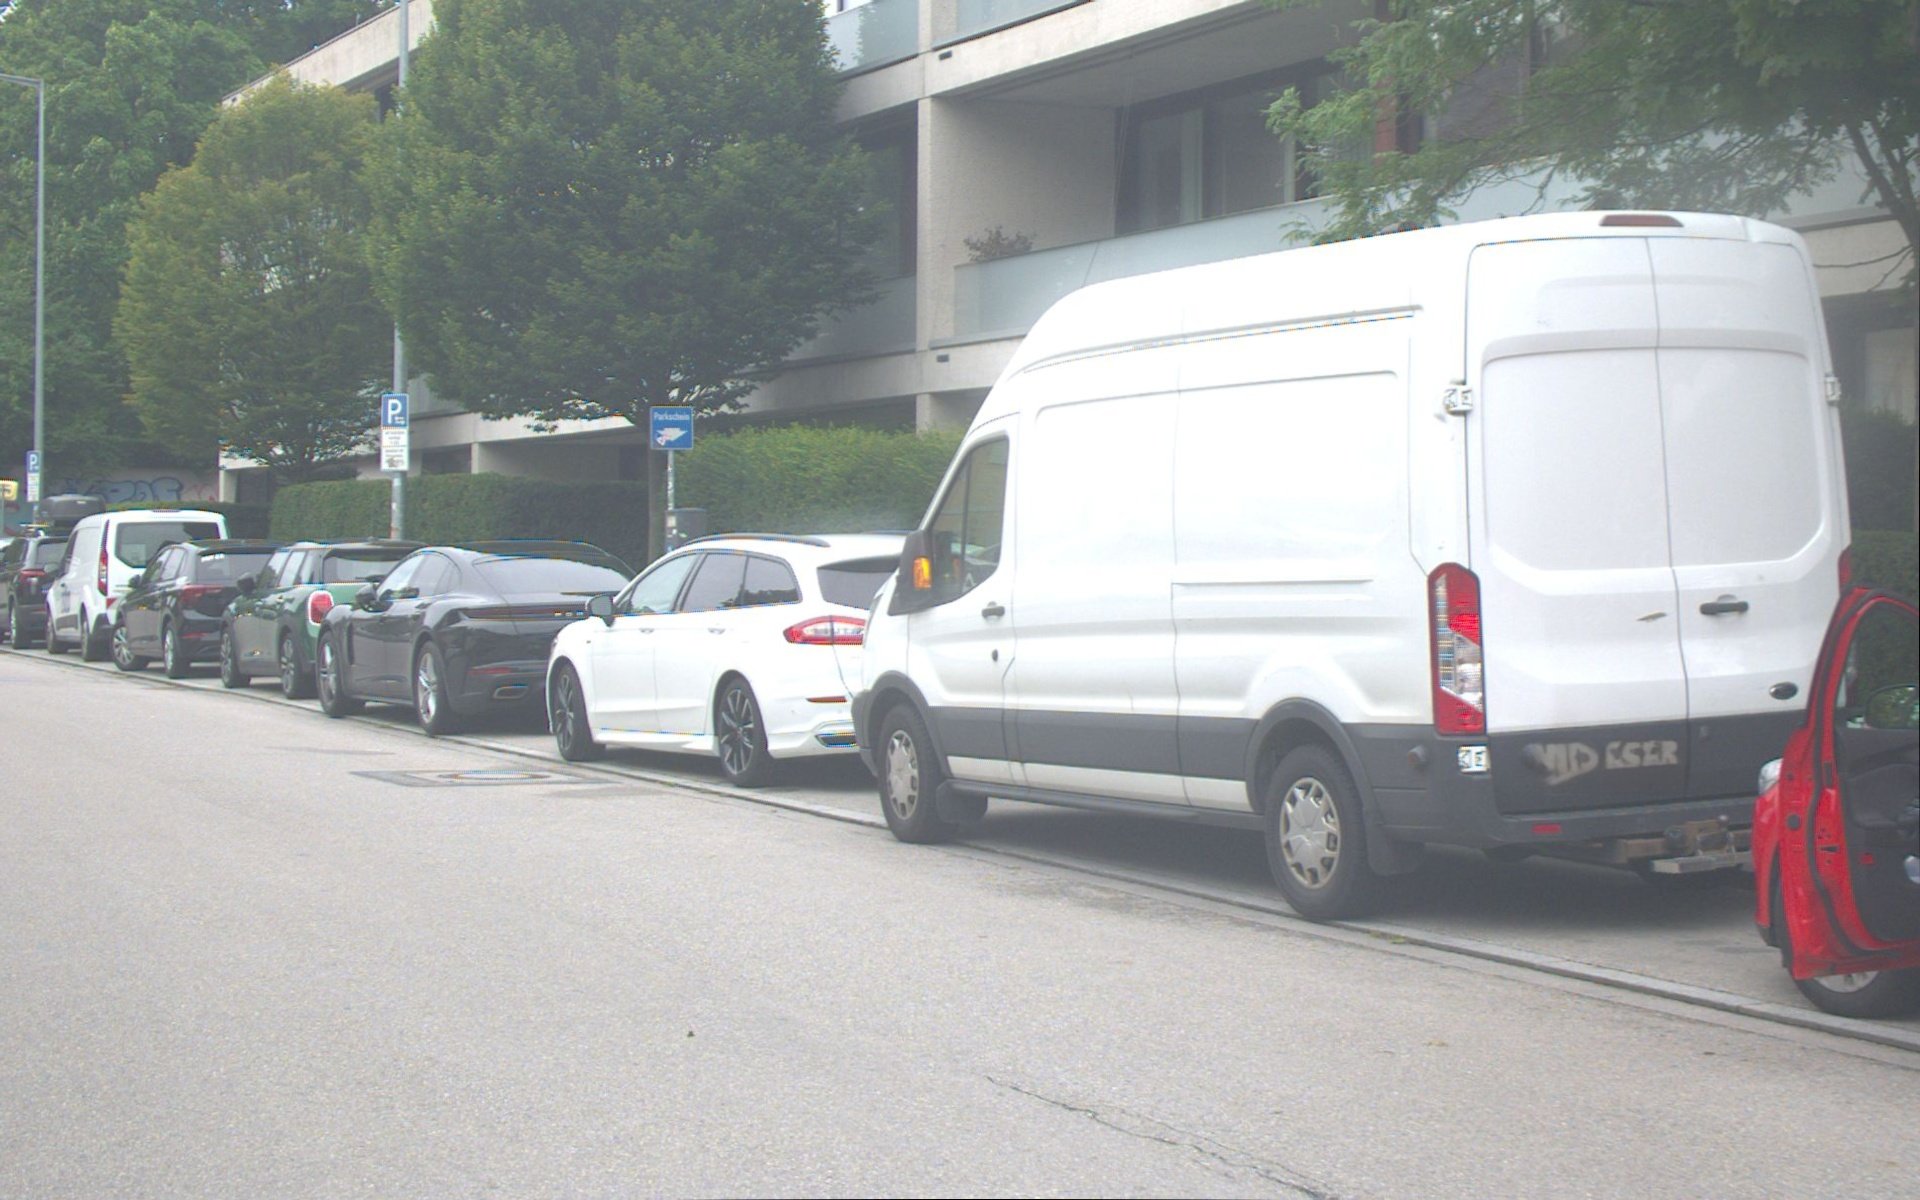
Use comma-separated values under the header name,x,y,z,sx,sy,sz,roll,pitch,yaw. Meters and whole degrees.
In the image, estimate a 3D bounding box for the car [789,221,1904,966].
name,x,y,z,sx,sy,sz,roll,pitch,yaw
car,1.383,-0.142,15.535,2.079,2.677,6.090,-2,2,-26

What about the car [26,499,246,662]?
name,x,y,z,sx,sy,sz,roll,pitch,yaw
car,-10.303,-0.276,42.728,1.822,1.854,4.899,2,1,-23

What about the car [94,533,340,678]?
name,x,y,z,sx,sy,sz,roll,pitch,yaw
car,-8.116,0.015,37.271,1.747,1.459,4.243,0,1,-24

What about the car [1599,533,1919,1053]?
name,x,y,z,sx,sy,sz,roll,pitch,yaw
car,4.070,0.601,9.930,1.870,1.501,4.839,-2,3,-26

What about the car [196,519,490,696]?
name,x,y,z,sx,sy,sz,roll,pitch,yaw
car,-5.883,0.013,32.417,1.726,1.524,4.205,-1,2,-24

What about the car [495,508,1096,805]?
name,x,y,z,sx,sy,sz,roll,pitch,yaw
car,-1.196,0.243,21.742,1.870,1.564,5.003,-2,3,-27

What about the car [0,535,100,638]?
name,x,y,z,sx,sy,sz,roll,pitch,yaw
car,-14.199,-0.234,51.692,1.747,1.475,3.889,0,1,-25

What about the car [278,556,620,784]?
name,x,y,z,sx,sy,sz,roll,pitch,yaw
car,-4.151,0.467,27.231,1.281,1.501,5.209,-2,3,-24

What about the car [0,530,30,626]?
name,x,y,z,sx,sy,sz,roll,pitch,yaw
car,-16.740,-0.398,56.824,1.747,1.534,4.570,1,1,-27

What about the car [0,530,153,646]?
name,x,y,z,sx,sy,sz,roll,pitch,yaw
car,-12.481,-0.205,47.403,1.747,1.475,4.599,1,1,-24
